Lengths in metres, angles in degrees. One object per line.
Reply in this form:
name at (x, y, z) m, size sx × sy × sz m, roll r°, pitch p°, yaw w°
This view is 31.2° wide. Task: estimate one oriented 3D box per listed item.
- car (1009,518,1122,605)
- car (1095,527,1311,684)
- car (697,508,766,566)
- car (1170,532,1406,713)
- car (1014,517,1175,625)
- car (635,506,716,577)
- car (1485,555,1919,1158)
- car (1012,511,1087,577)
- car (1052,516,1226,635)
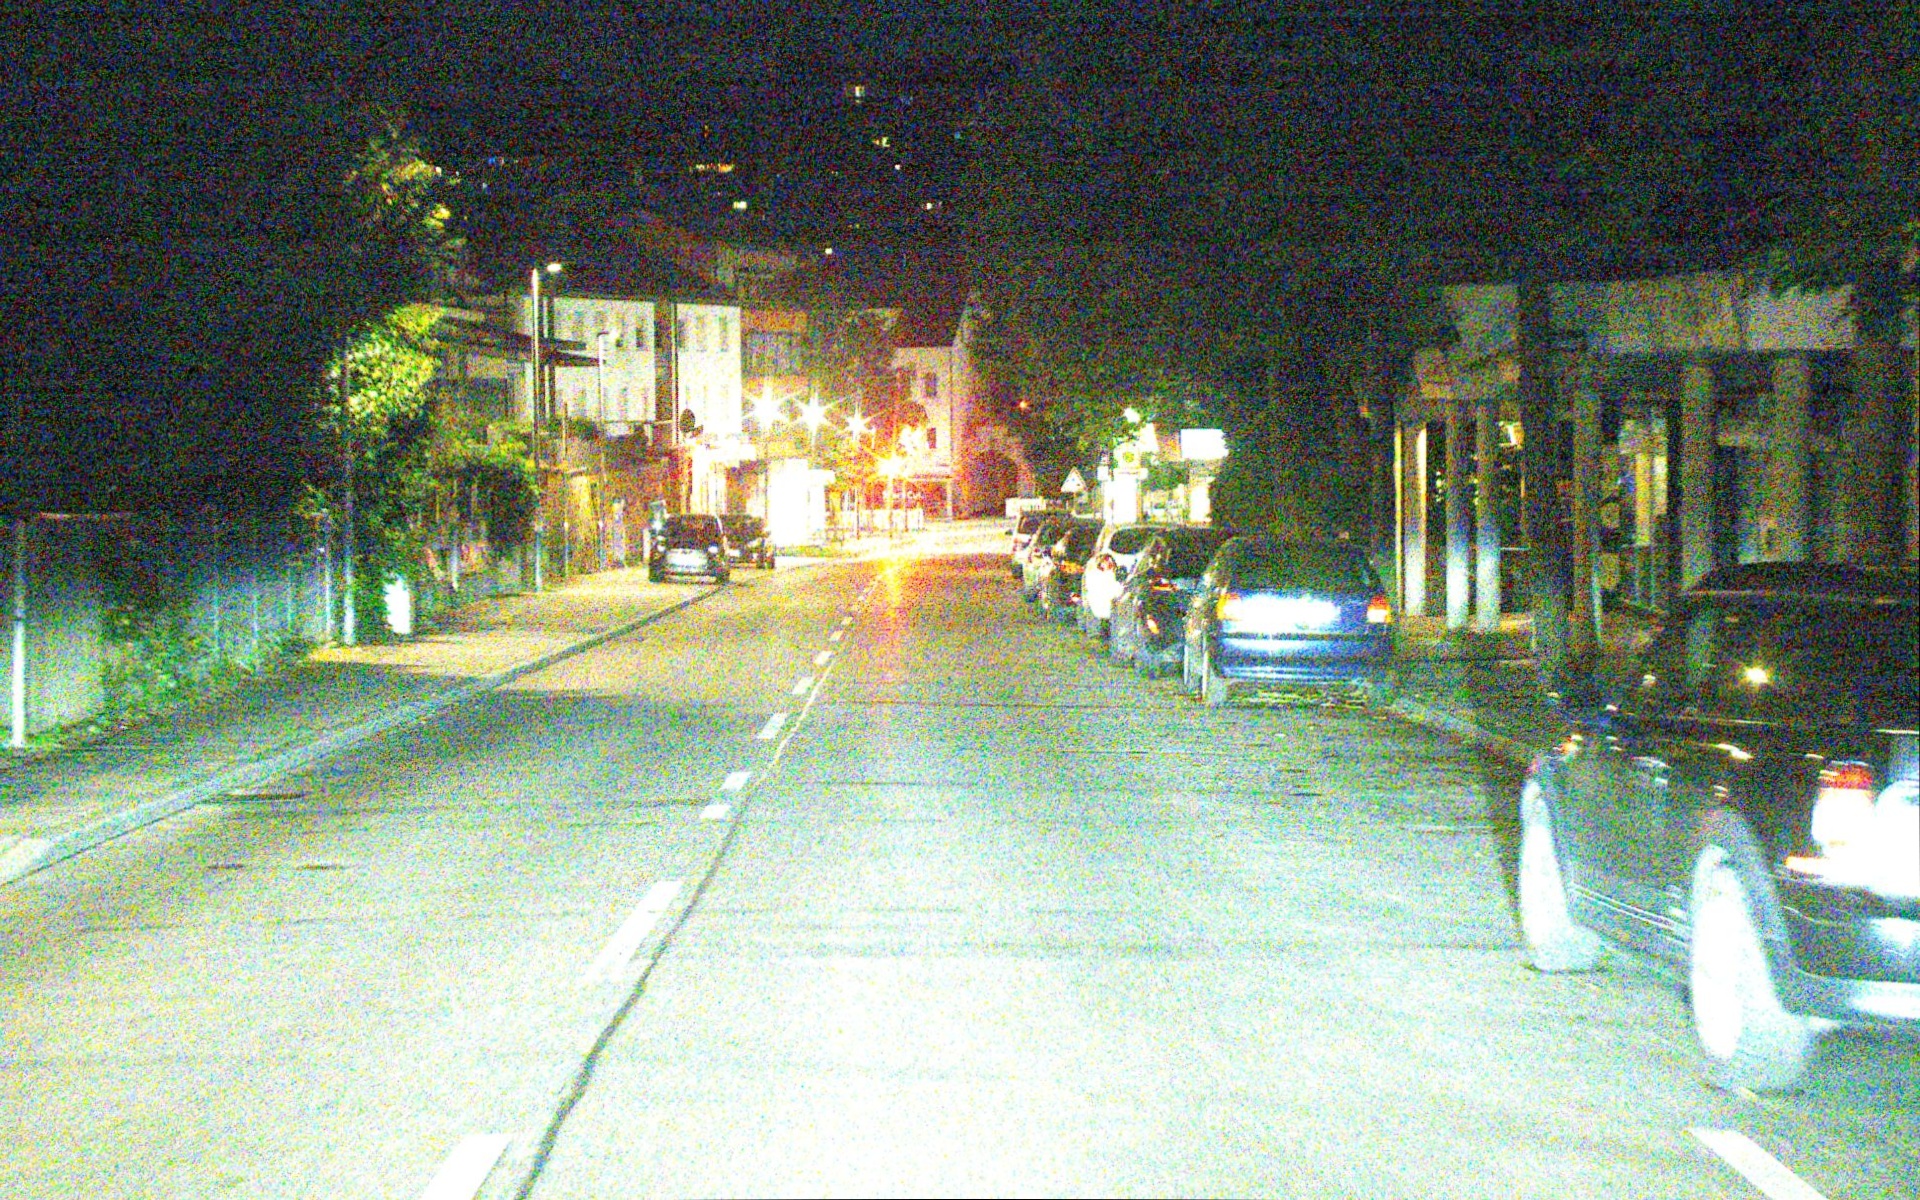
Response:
car at (1.848, -0.704, 61.165) m, size 1.682 × 1.443 × 4.001 m, roll 1°, pitch 2°, yaw -3°
car at (2.397, 0.011, 34.745) m, size 1.682 × 1.443 × 4.001 m, roll 1°, pitch 2°, yaw -3°
car at (-6.207, -1.739, 93.849) m, size 1.753 × 1.534 × 3.731 m, roll 0°, pitch 1°, yaw -2°
car at (2.779, 0.141, 29.900) m, size 1.868 × 1.398 × 4.000 m, roll 1°, pitch 2°, yaw 3°
car at (1.903, -0.449, 49.860) m, size 1.682 × 1.443 × 4.001 m, roll 1°, pitch 2°, yaw -7°
car at (-6.322, -1.329, 76.729) m, size 1.753 × 1.534 × 3.732 m, roll 0°, pitch 1°, yaw -4°
car at (2.770, 0.613, 10.408) m, size 1.629 × 1.434 × 3.865 m, roll 0°, pitch 1°, yaw -2°
car at (2.107, -1.346, 81.568) m, size 1.682 × 1.534 × 4.000 m, roll 0°, pitch 1°, yaw 0°
car at (2.308, -0.355, 45.348) m, size 1.682 × 1.443 × 4.001 m, roll 1°, pitch 2°, yaw -6°
